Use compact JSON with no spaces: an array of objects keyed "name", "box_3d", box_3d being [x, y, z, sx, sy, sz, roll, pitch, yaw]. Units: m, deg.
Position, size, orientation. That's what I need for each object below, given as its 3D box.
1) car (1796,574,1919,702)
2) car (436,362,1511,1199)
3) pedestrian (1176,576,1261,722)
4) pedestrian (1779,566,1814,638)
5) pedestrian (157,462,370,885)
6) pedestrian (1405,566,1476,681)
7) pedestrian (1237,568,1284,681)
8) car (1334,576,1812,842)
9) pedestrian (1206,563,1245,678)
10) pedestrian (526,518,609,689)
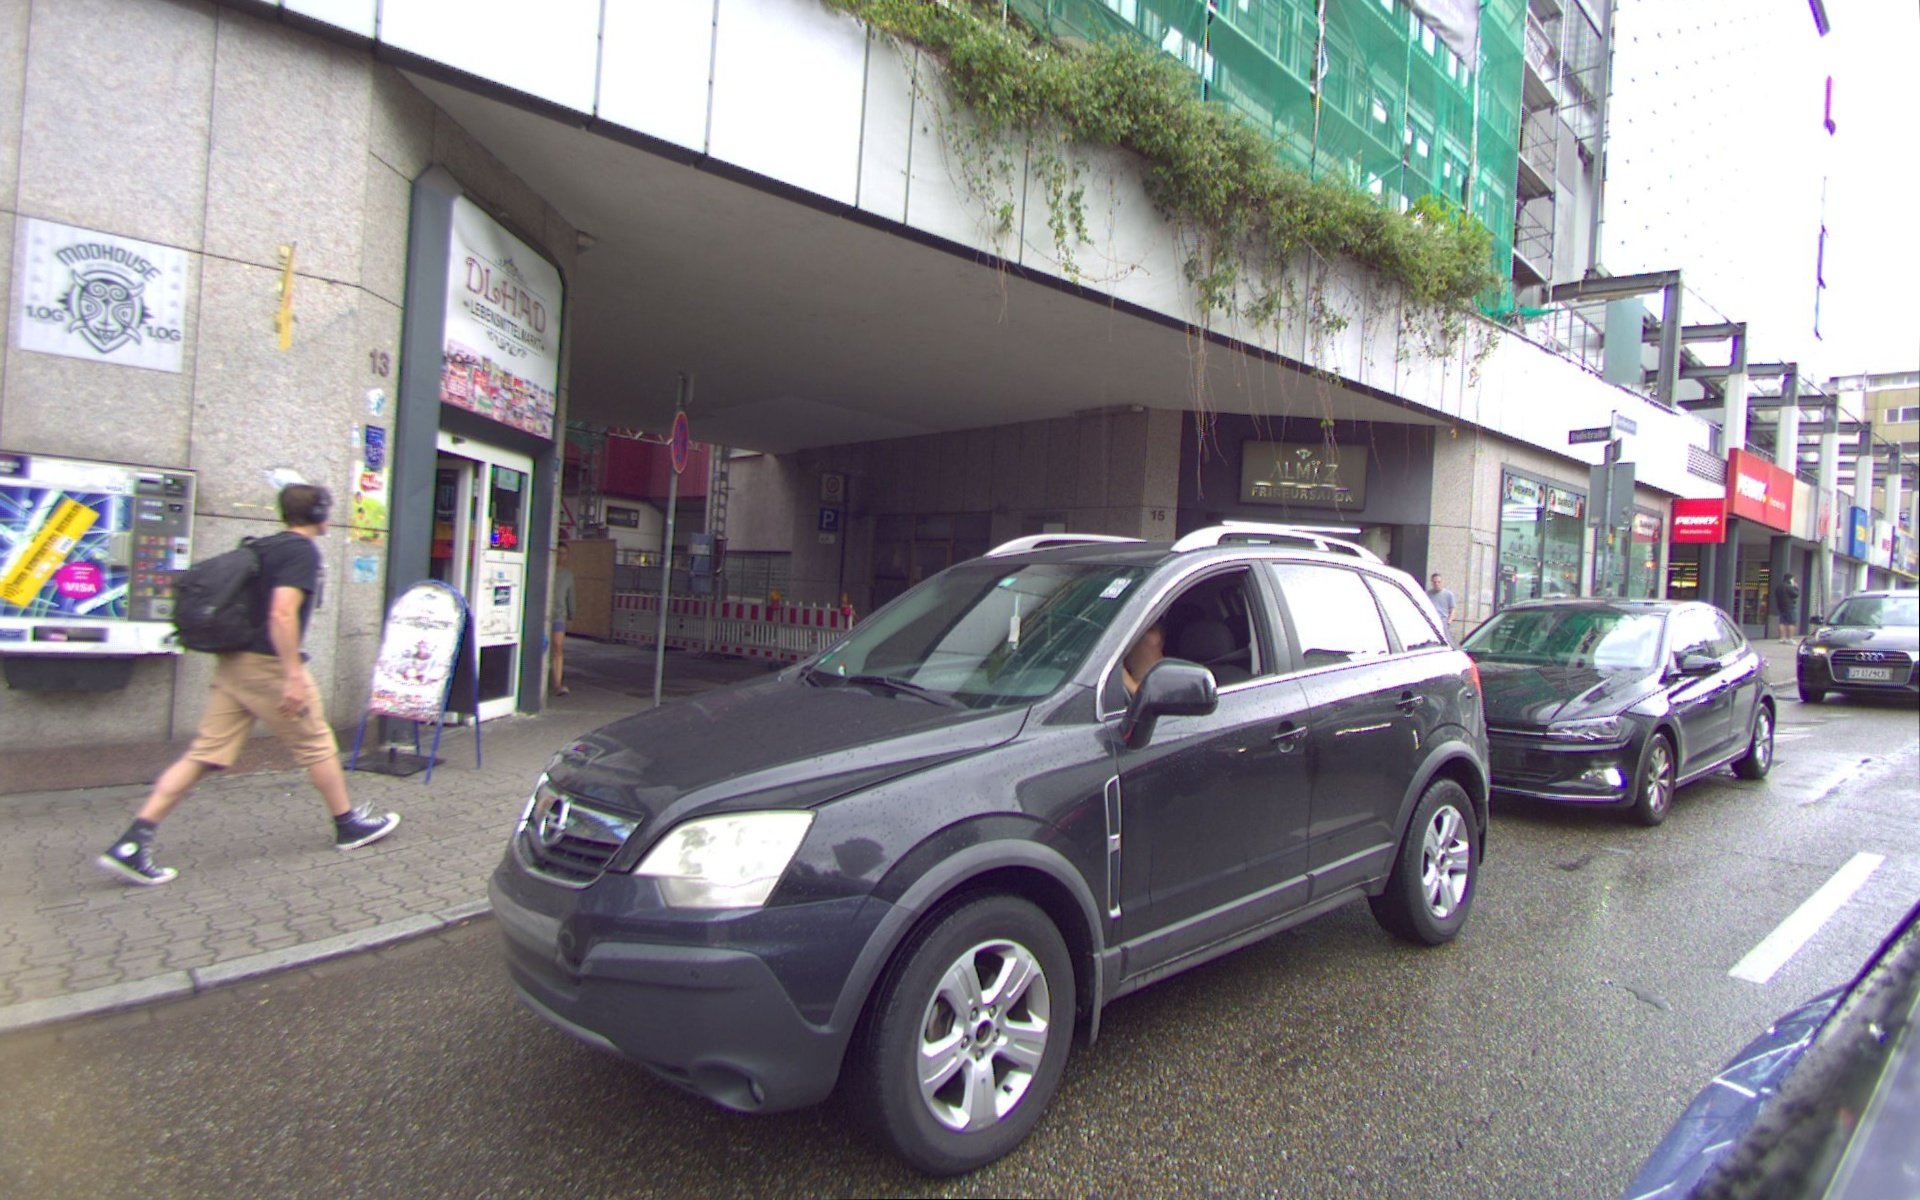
[{"name":"car","box_3d":[13.564,0.465,14.398,4.089,1.628,1.841,-1,1,-39]},{"name":"car","box_3d":[0.401,0.441,3.993,4.089,1.788,1.763,1,0,-40]},{"name":"pedestrian","box_3d":[3.417,0.618,13.407,0.760,1.838,0.743,0,3,-40]},{"name":"pedestrian","box_3d":[20.254,0.042,24.504,0.570,1.699,0.509,-1,3,-42]},{"name":"pedestrian","box_3d":[-3.294,0.294,4.869,0.757,1.837,0.745,0,5,-29]},{"name":"pedestrian","box_3d":[7.184,0.337,15.138,0.718,1.663,0.640,-1,1,-24]},{"name":"pedestrian","box_3d":[4.405,0.340,14.842,0.630,1.615,0.574,0,1,17]},{"name":"car","box_3d":[4.818,0.643,7.743,4.086,1.523,1.759,1,0,-37]},{"name":"pedestrian","box_3d":[4.084,0.308,15.600,0.474,1.729,0.467,0,0,1]},{"name":"pedestrian","box_3d":[-4.458,0.010,11.472,0.729,1.837,0.774,0,5,-32]}]
